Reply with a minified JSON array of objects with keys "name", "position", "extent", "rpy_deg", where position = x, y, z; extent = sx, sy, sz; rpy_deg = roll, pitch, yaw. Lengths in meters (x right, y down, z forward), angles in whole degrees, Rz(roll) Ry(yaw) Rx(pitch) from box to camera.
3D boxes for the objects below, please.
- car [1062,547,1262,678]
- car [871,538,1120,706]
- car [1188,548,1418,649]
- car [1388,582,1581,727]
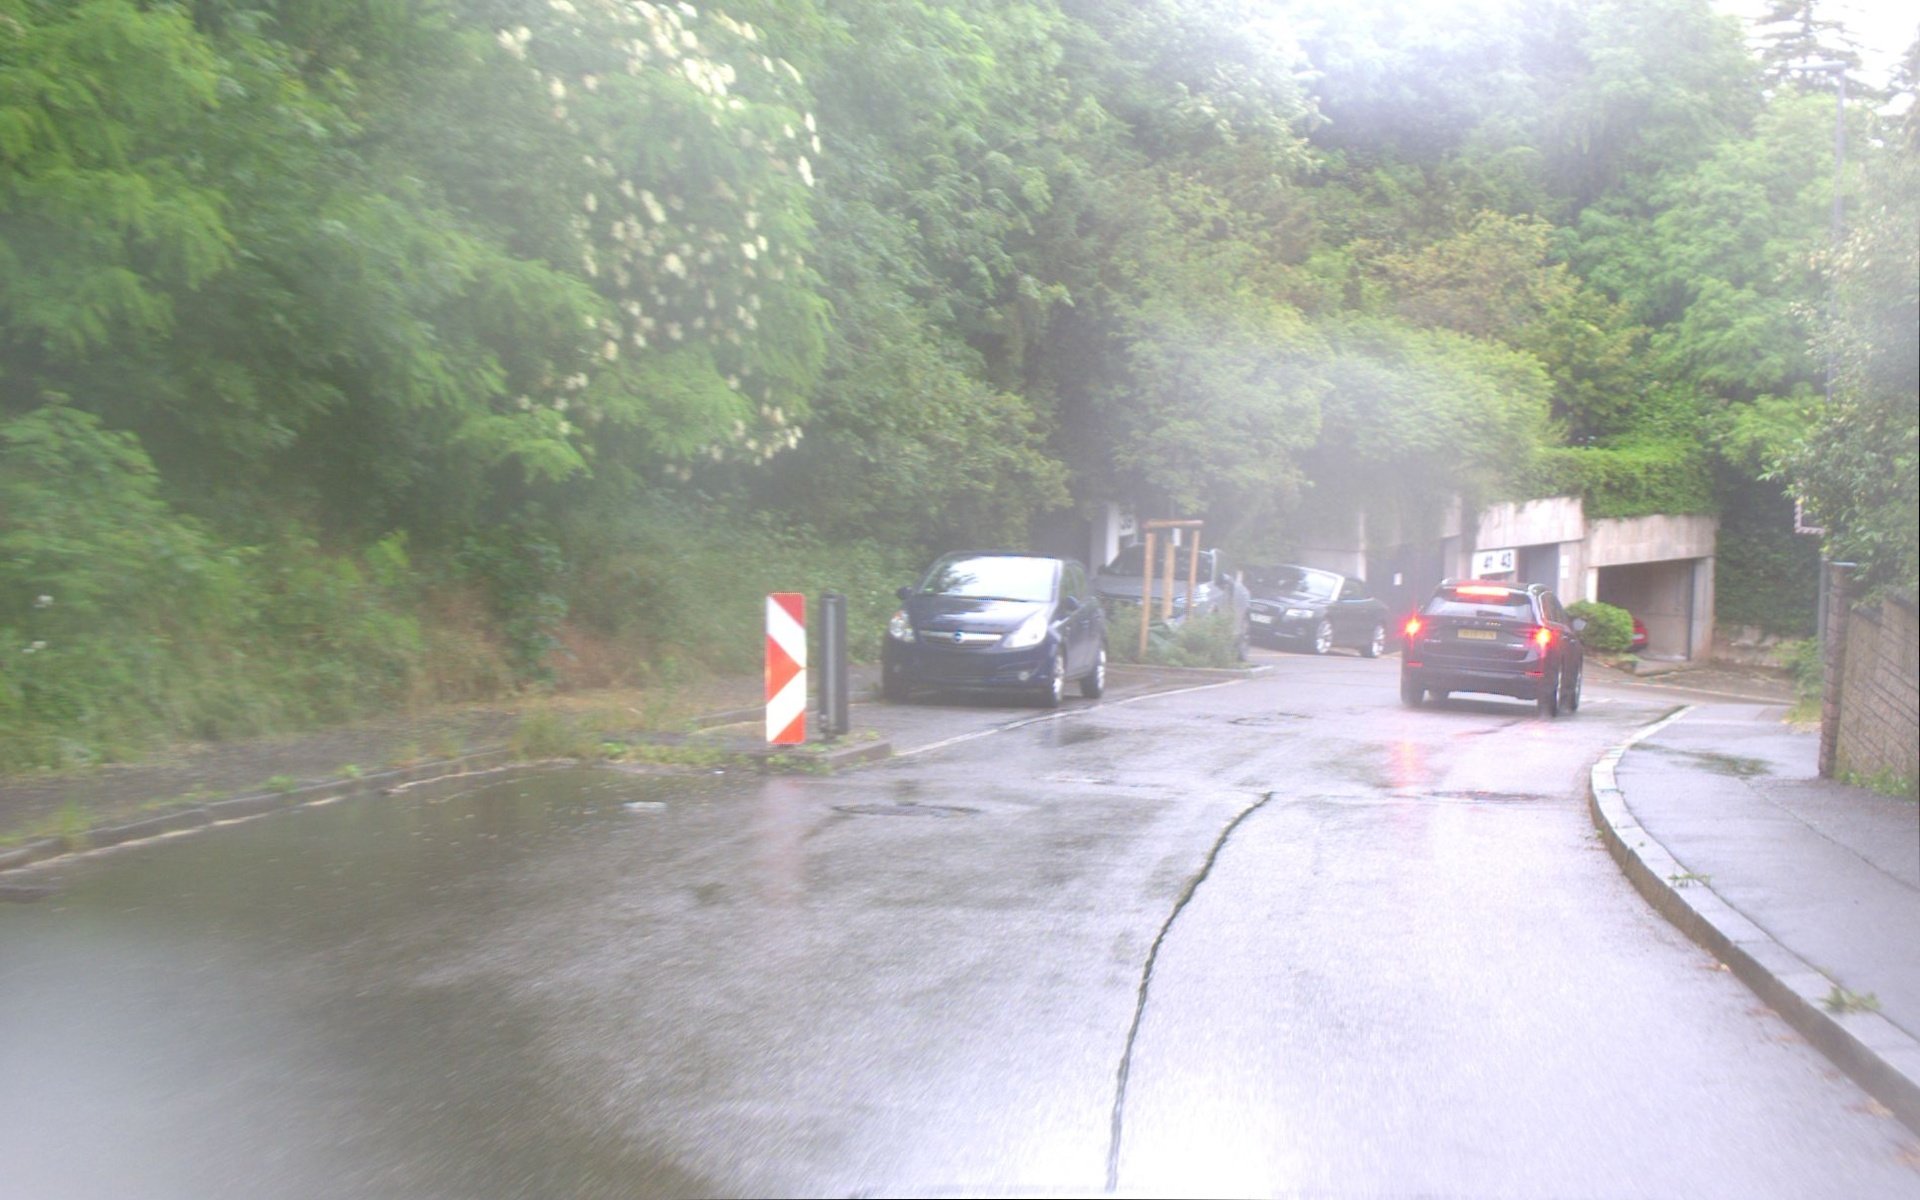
[{"name":"car","position":[2.853,0.163,47.708],"extent":[1.995,1.635,3.997],"rpy_deg":[3,1,14]},{"name":"car","position":[0.413,0.172,33.659],"extent":[1.700,1.466,3.998],"rpy_deg":[3,1,11]},{"name":"car","position":[5.728,-0.003,57.000],"extent":[1.997,1.503,4.562],"rpy_deg":[3,1,31]},{"name":"car","position":[6.049,0.579,39.323],"extent":[1.869,1.507,4.090],"rpy_deg":[1,1,13]}]
